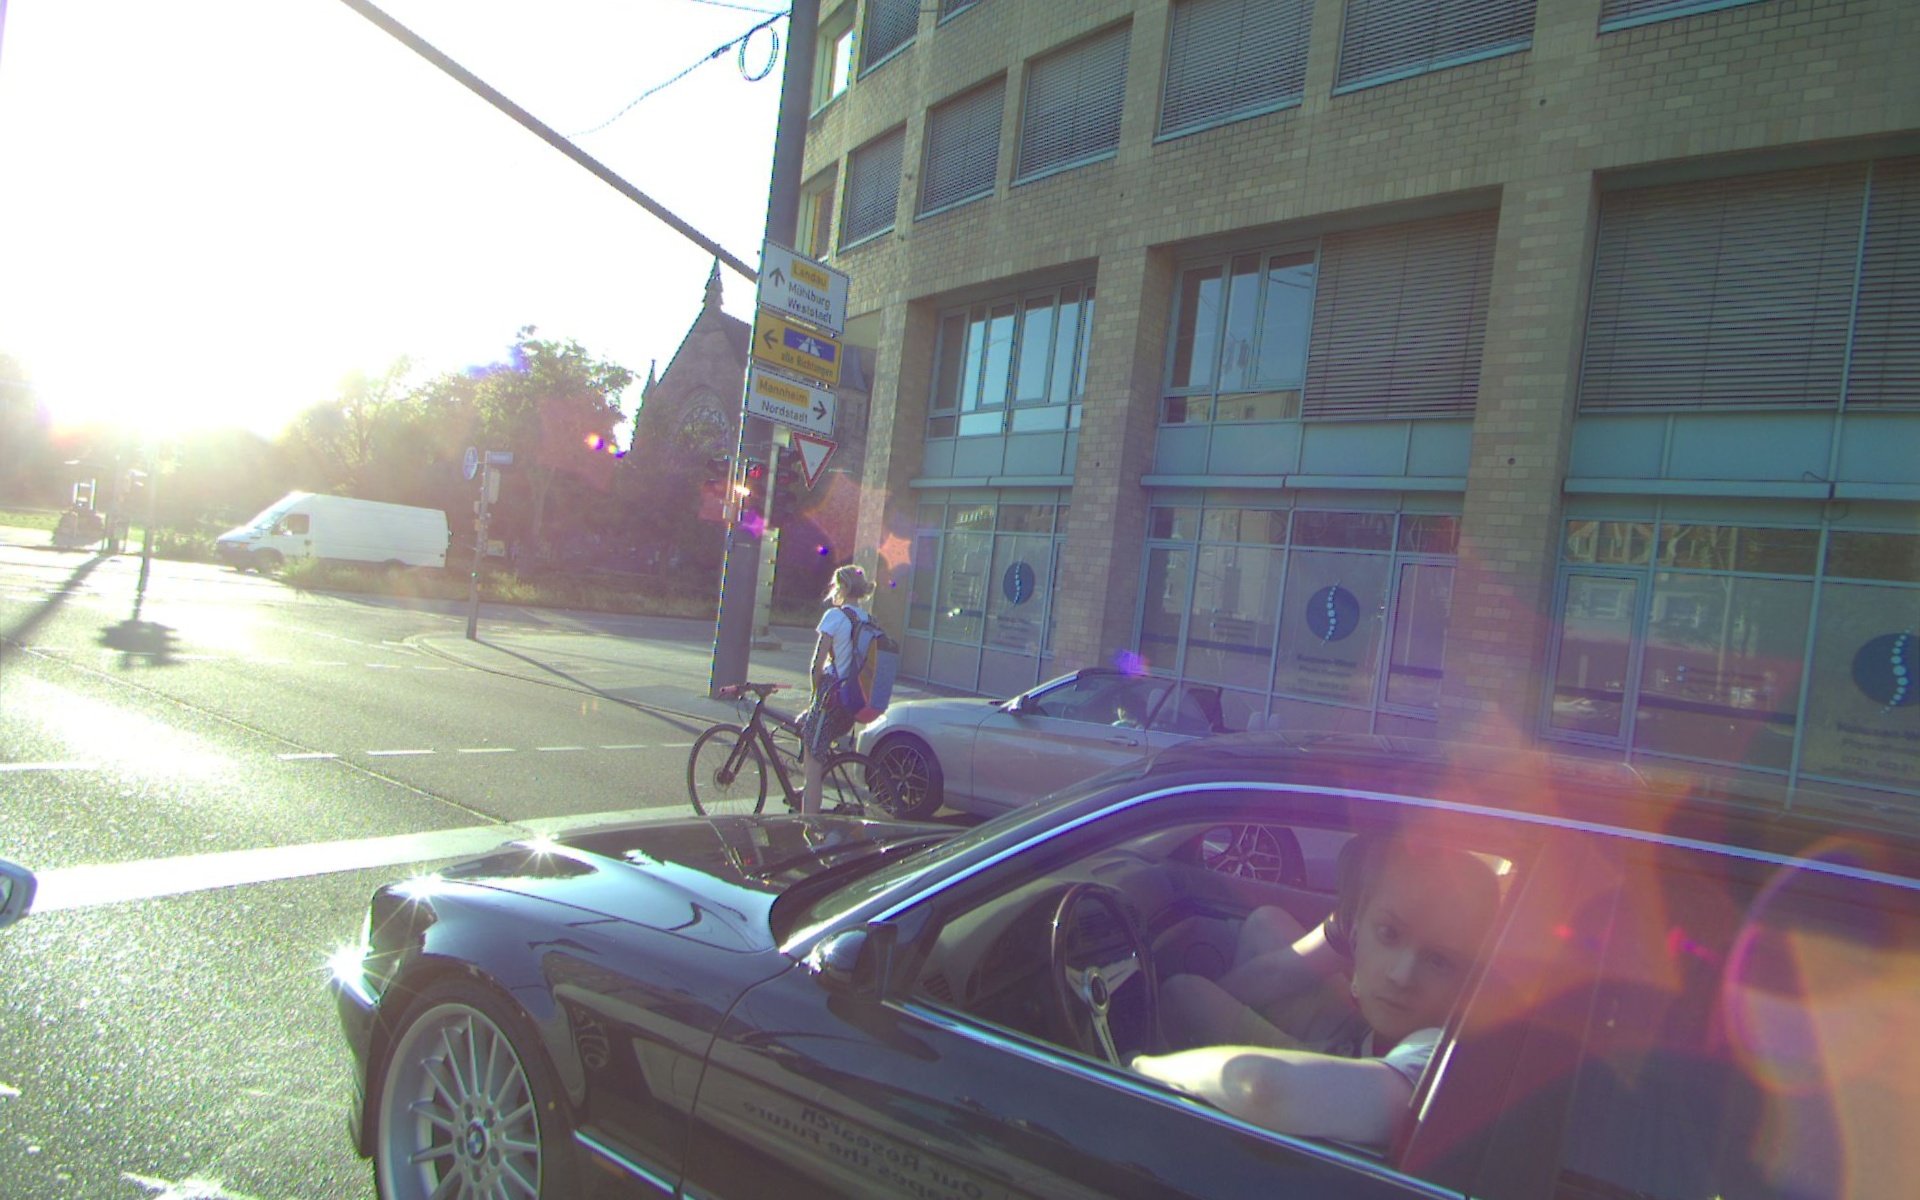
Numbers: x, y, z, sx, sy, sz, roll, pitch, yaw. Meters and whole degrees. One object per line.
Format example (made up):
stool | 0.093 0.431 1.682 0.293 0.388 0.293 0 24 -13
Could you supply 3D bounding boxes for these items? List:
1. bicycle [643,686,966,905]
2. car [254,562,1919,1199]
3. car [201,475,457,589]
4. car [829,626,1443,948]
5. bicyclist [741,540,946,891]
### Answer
bicycle | -0.961 1.085 6.006 1.838 0.884 0.634 7 0 30
car | 0.886 0.931 2.007 4.661 1.402 1.997 7 -1 32
car | -21.321 -2.200 34.460 2.059 2.862 7.017 7 0 33
car | 1.242 1.194 7.683 4.157 1.401 1.747 7 -1 31
bicyclist | -0.675 0.631 5.868 0.764 1.843 0.634 7 1 30
